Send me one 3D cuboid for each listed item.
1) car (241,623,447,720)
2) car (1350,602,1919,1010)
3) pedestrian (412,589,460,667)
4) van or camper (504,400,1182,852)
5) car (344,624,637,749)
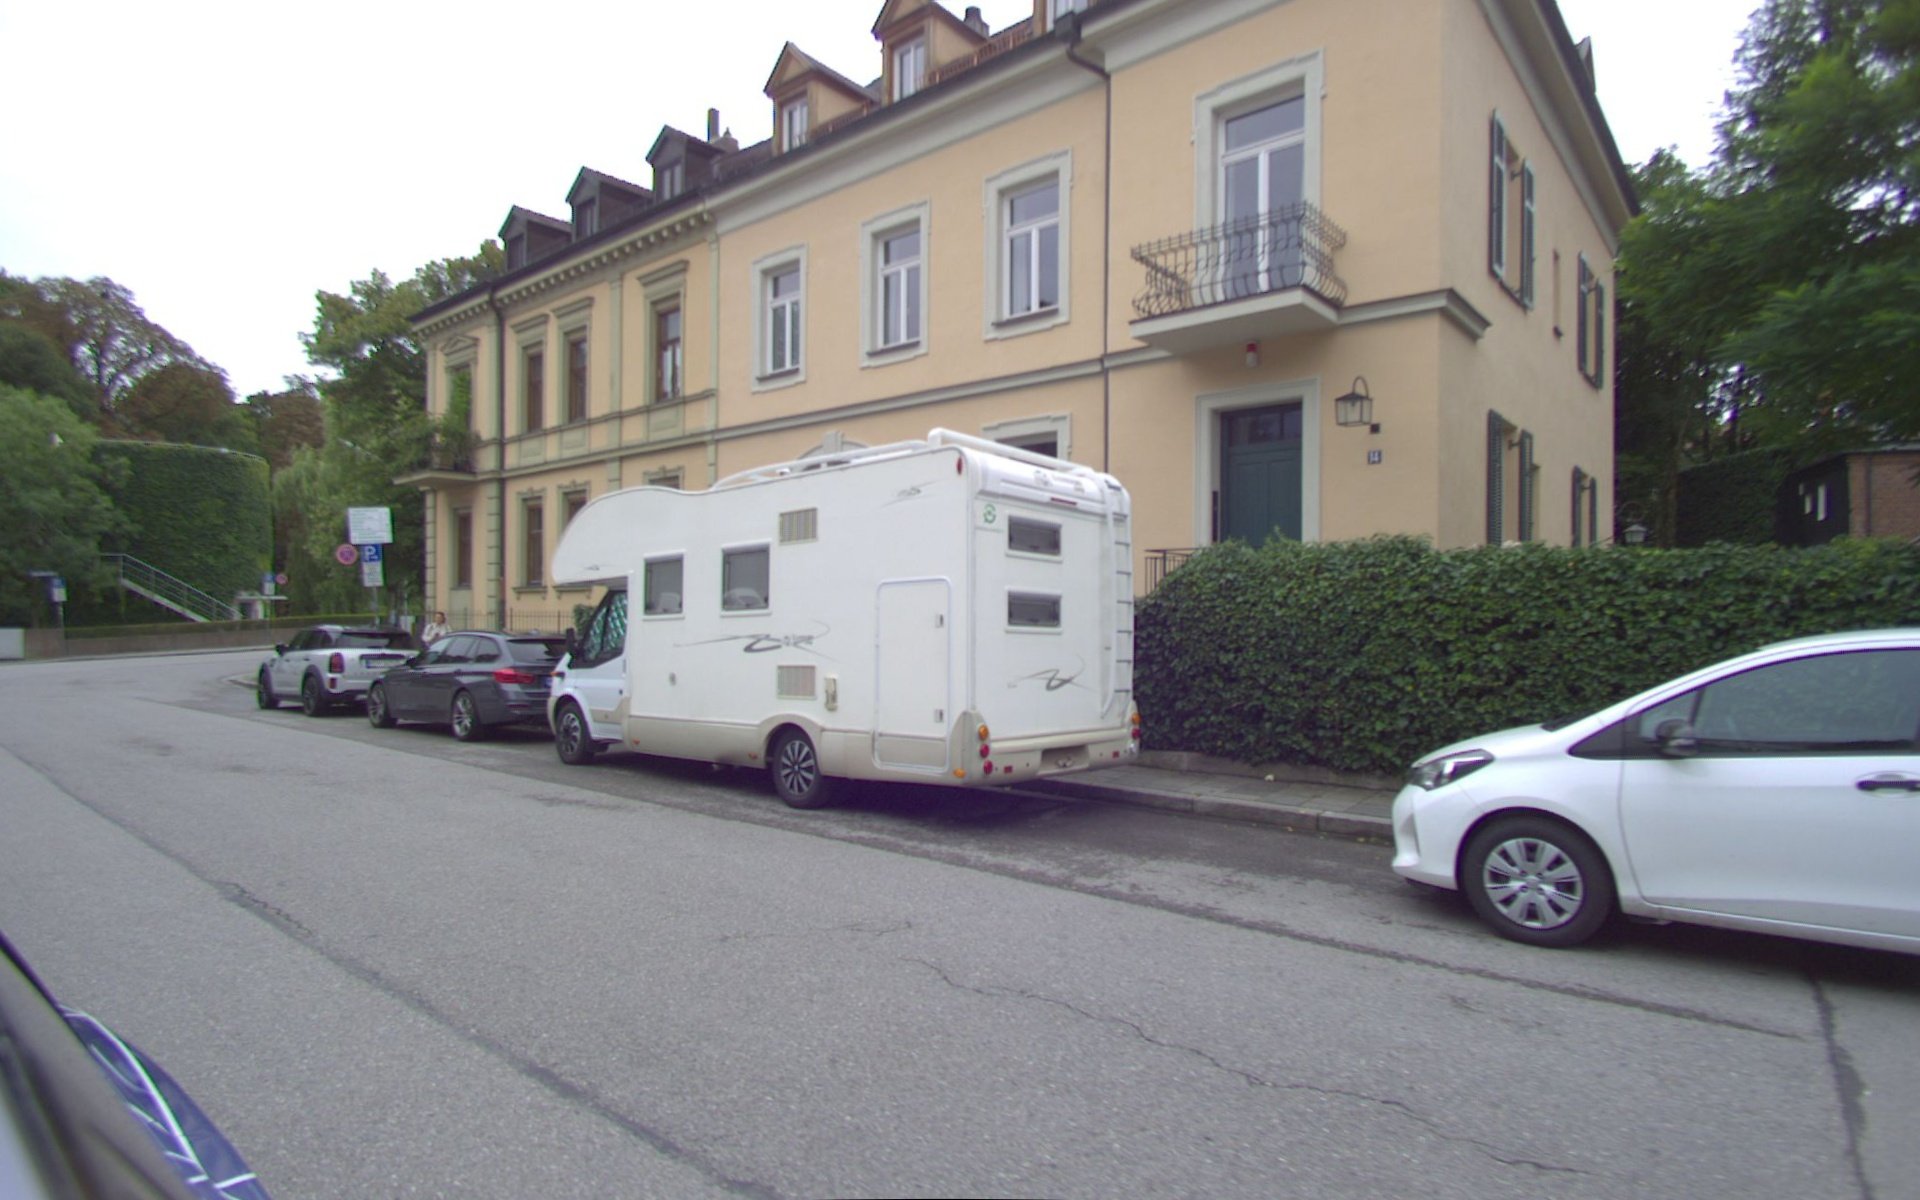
[{"bbox_3d":[-11.345,1.240,18.510,4.529,1.547,1.915,-1,-4,41],"label":"car"},{"bbox_3d":[4.195,0.830,4.567,4.225,1.547,1.760,-1,-4,40],"label":"car"},{"bbox_3d":[-11.048,0.579,21.343,0.739,1.615,0.647,-2,-1,39],"label":"pedestrian"},{"bbox_3d":[-1.626,0.269,9.962,7.209,2.963,2.429,-1,-3,42],"label":"van or camper"},{"bbox_3d":[-6.915,1.143,14.661,4.817,1.520,1.916,-1,-4,39],"label":"car"}]
